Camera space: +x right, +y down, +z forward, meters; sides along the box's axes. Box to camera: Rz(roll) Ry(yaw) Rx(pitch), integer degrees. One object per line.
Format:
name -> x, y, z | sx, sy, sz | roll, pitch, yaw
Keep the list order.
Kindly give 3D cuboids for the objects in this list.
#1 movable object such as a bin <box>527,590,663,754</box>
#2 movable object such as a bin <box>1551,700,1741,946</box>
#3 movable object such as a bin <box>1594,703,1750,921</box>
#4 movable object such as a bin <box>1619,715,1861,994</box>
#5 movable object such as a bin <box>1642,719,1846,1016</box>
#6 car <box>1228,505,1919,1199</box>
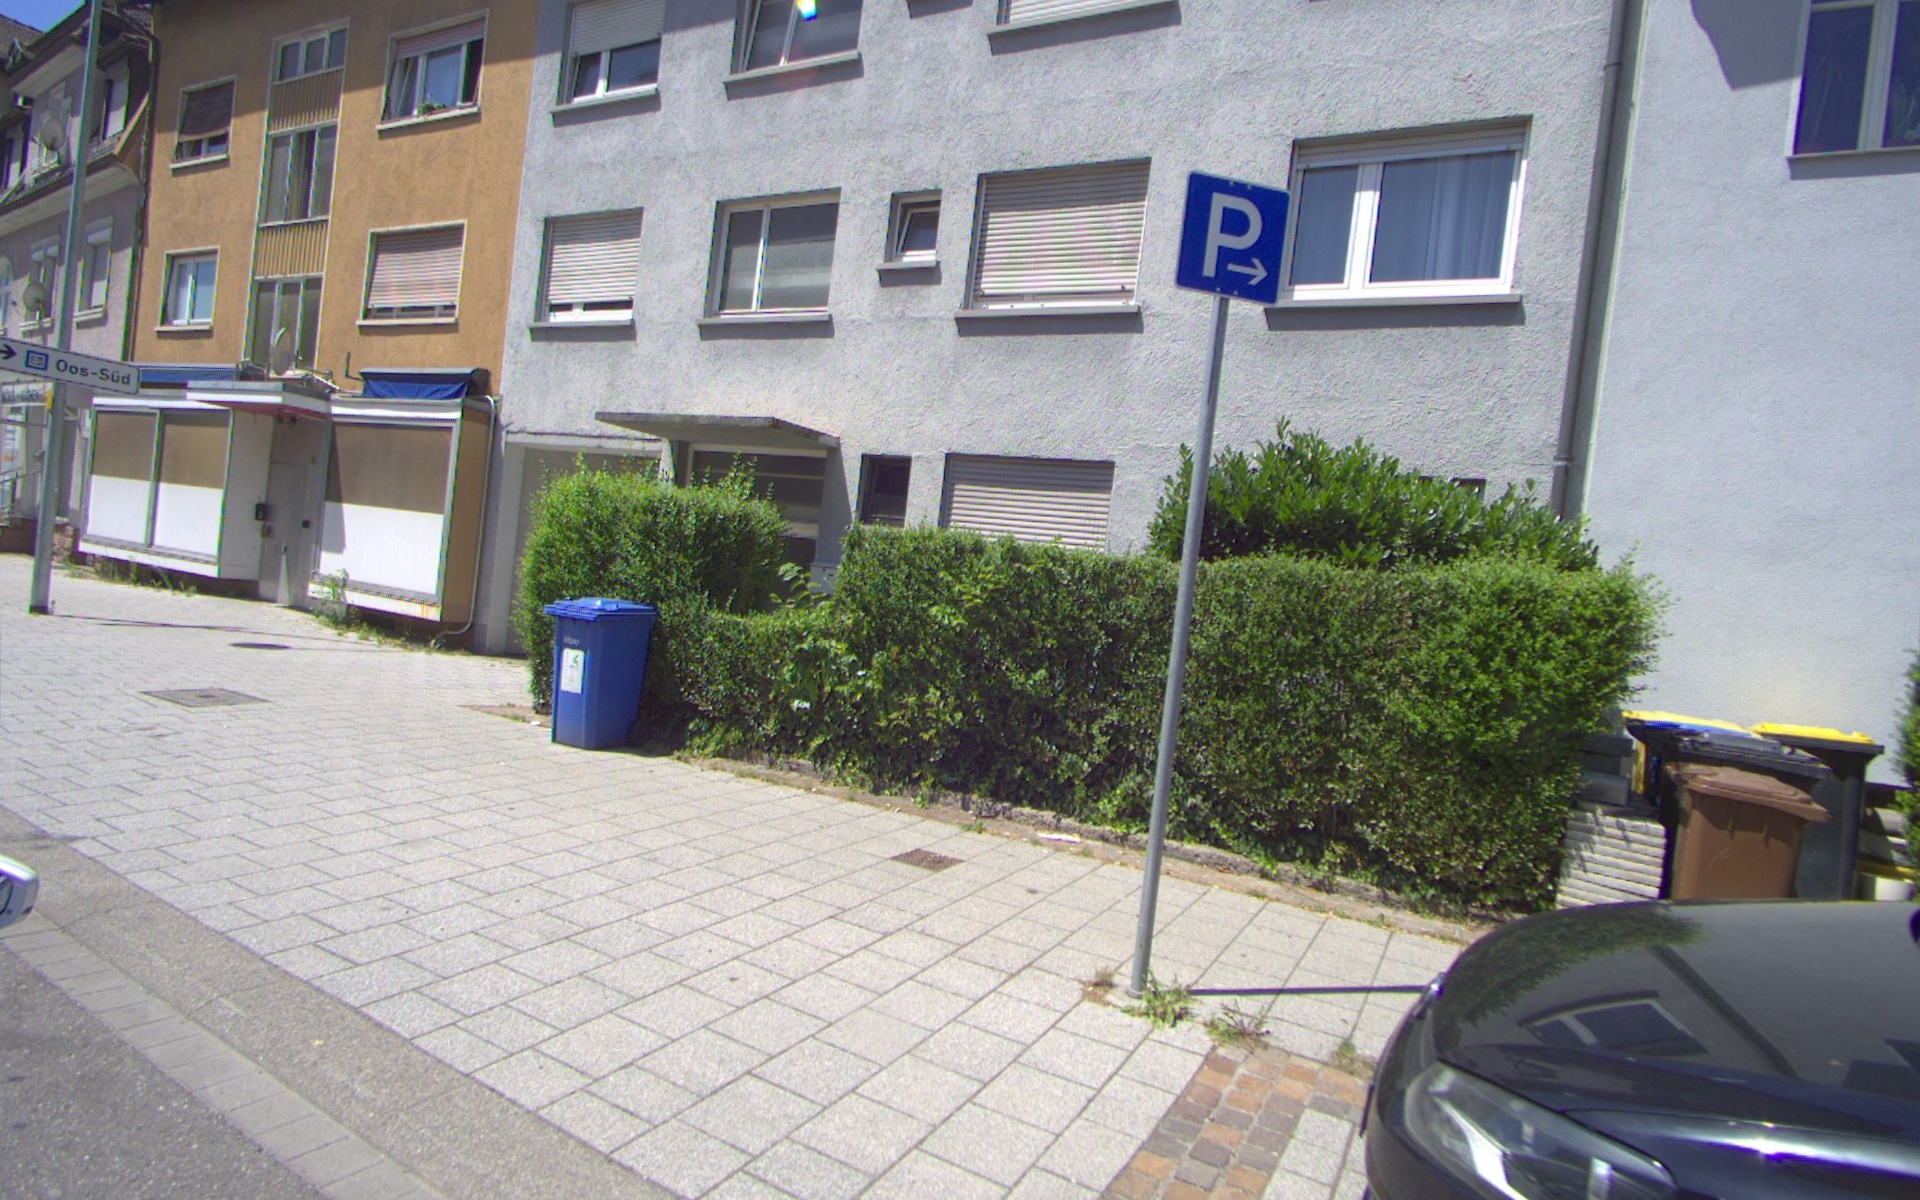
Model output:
movable object such as a bin -> -2.687, 0.511, 7.420 | 0.636, 1.091, 0.594 | 7, 2, 31
movable object such as a bin -> 3.754, 1.175, 5.566 | 0.710, 1.123, 0.736 | 7, 1, 32
movable object such as a bin -> 4.259, 1.234, 6.062 | 0.616, 1.123, 0.611 | 7, 1, 32
movable object such as a bin -> 3.730, 1.176, 4.880 | 0.763, 1.099, 0.554 | 7, 1, 32
movable object such as a bin -> 3.431, 1.134, 4.451 | 0.546, 1.118, 0.487 | 7, 2, 31
car -> 2.558, 0.897, 1.230 | 3.937, 1.655, 1.727 | 7, 3, 35
